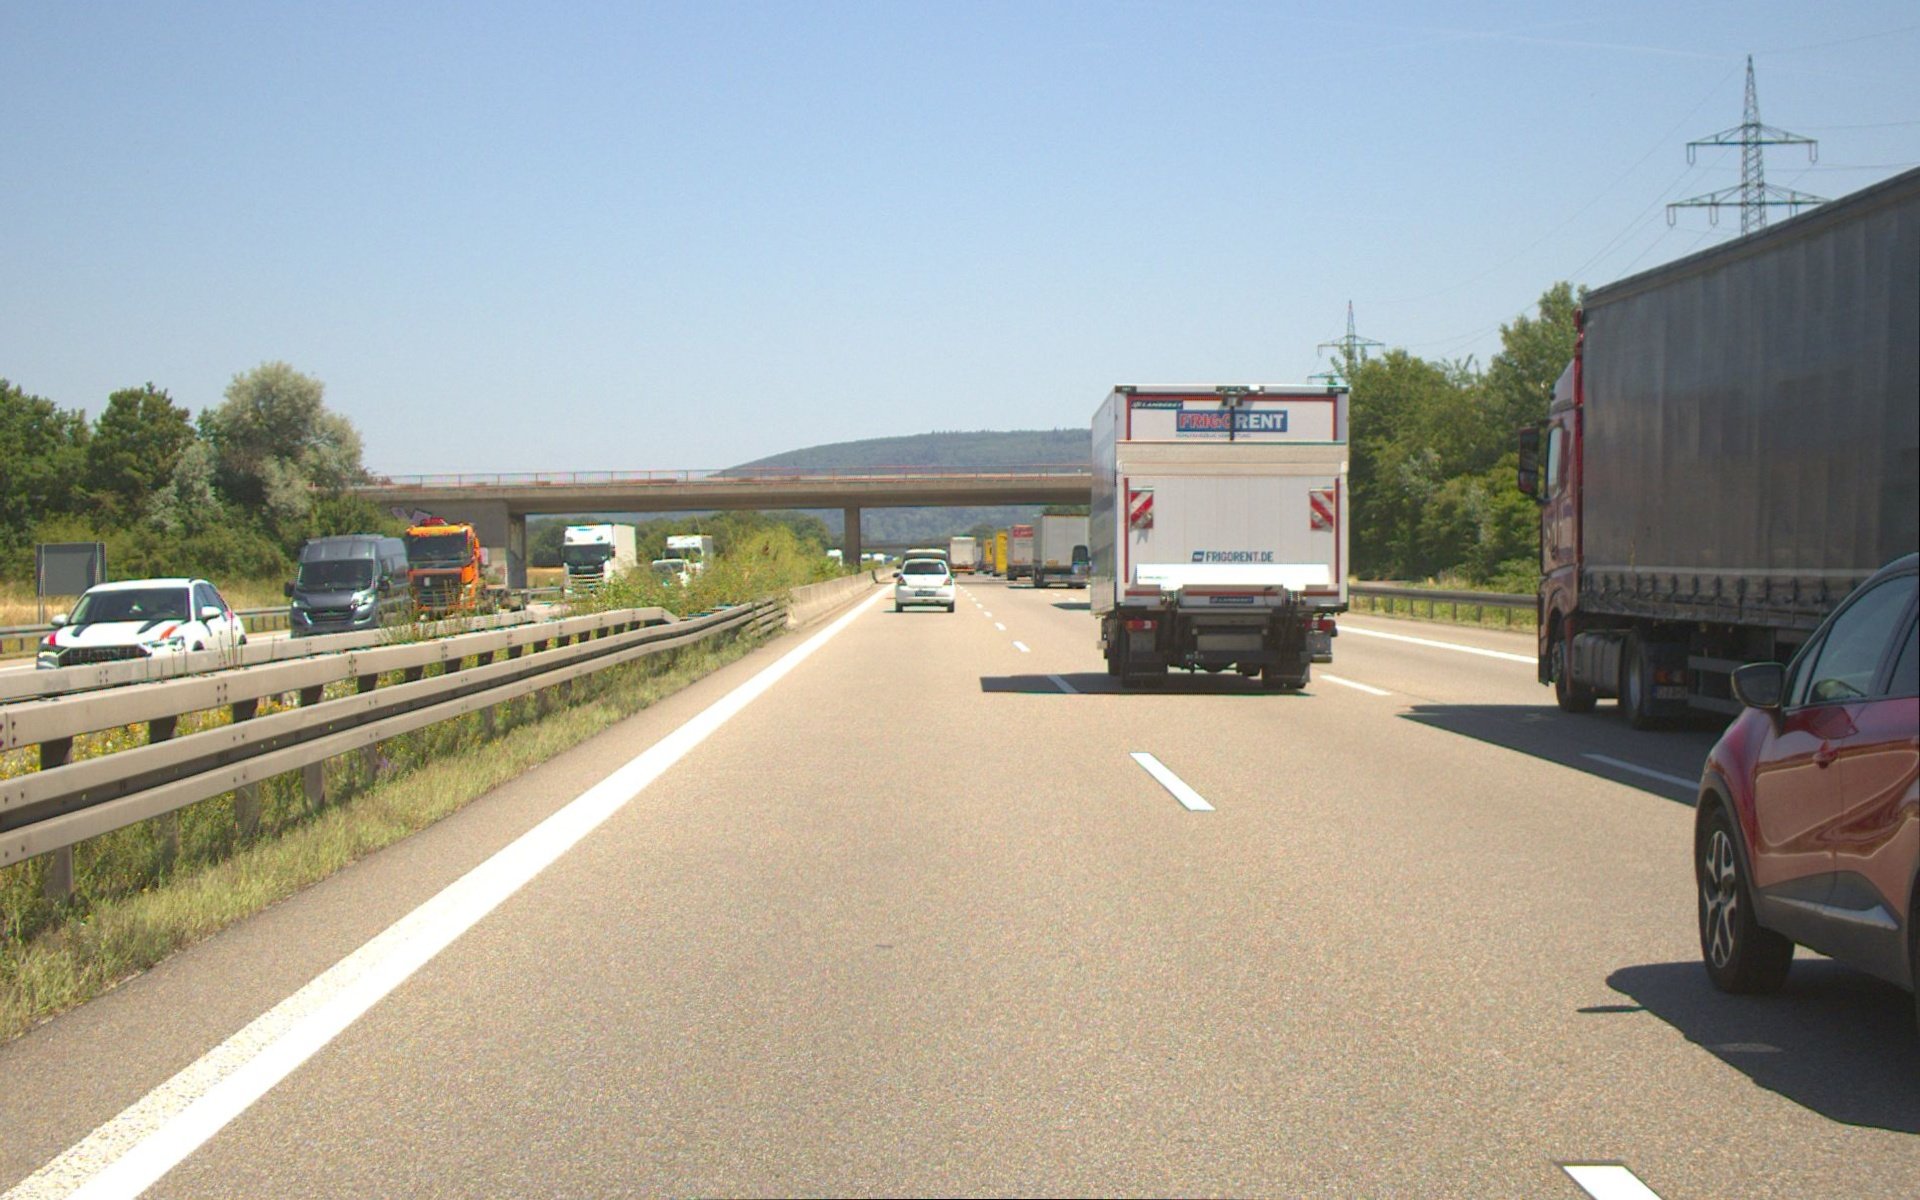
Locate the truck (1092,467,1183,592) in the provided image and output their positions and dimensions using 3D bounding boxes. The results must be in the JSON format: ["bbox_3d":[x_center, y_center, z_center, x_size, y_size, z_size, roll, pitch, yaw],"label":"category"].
[{"bbox_3d":[6.041,-2.401,117.722,2.795,4.149,5.723,0,1,0],"label":"truck"}]

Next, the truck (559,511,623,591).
[{"bbox_3d":[-19.194,-2.542,179.220,2.680,4.001,5.756,-2,1,-1],"label":"truck"}]

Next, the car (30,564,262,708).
[{"bbox_3d":[-9.755,0.393,41.486,1.804,1.563,4.095,-2,1,-1],"label":"car"}]

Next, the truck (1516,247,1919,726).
[{"bbox_3d":[7.157,-1.029,32.683,2.795,4.149,5.723,0,1,0],"label":"truck"}]

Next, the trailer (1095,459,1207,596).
[{"bbox_3d":[6.054,-2.291,110.739,2.795,4.149,13.956,0,1,0],"label":"trailer"}]

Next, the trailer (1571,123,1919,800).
[{"bbox_3d":[7.231,-0.918,25.647,2.789,4.149,13.575,0,1,-1],"label":"trailer"}]

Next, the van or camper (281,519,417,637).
[{"bbox_3d":[-14.347,-0.540,81.077,2.170,2.579,5.874,-3,1,-1],"label":"van or camper"}]

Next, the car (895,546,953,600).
[{"bbox_3d":[-1.020,-0.791,98.854,1.607,1.462,4.000,-1,1,0],"label":"car"}]

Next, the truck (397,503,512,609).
[{"bbox_3d":[-18.661,-1.634,127.486,2.652,3.649,10.189,-3,1,0],"label":"truck"}]

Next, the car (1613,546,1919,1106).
[{"bbox_3d":[3.477,0.593,11.450,1.803,1.540,4.000,0,1,0],"label":"car"}]

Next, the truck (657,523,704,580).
[{"bbox_3d":[-20.199,-3.532,248.696,2.834,3.925,5.825,-2,1,-1],"label":"truck"}]

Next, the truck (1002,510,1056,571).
[{"bbox_3d":[5.167,-4.454,260.108,3.520,4.401,14.592,-2,1,0],"label":"truck"}]

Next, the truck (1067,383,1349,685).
[{"bbox_3d":[2.900,-0.786,42.493,2.782,3.361,8.128,0,1,-1],"label":"truck"}]

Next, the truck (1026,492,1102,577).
[{"bbox_3d":[5.614,-3.535,188.417,3.520,4.401,14.592,-2,1,0],"label":"truck"}]
